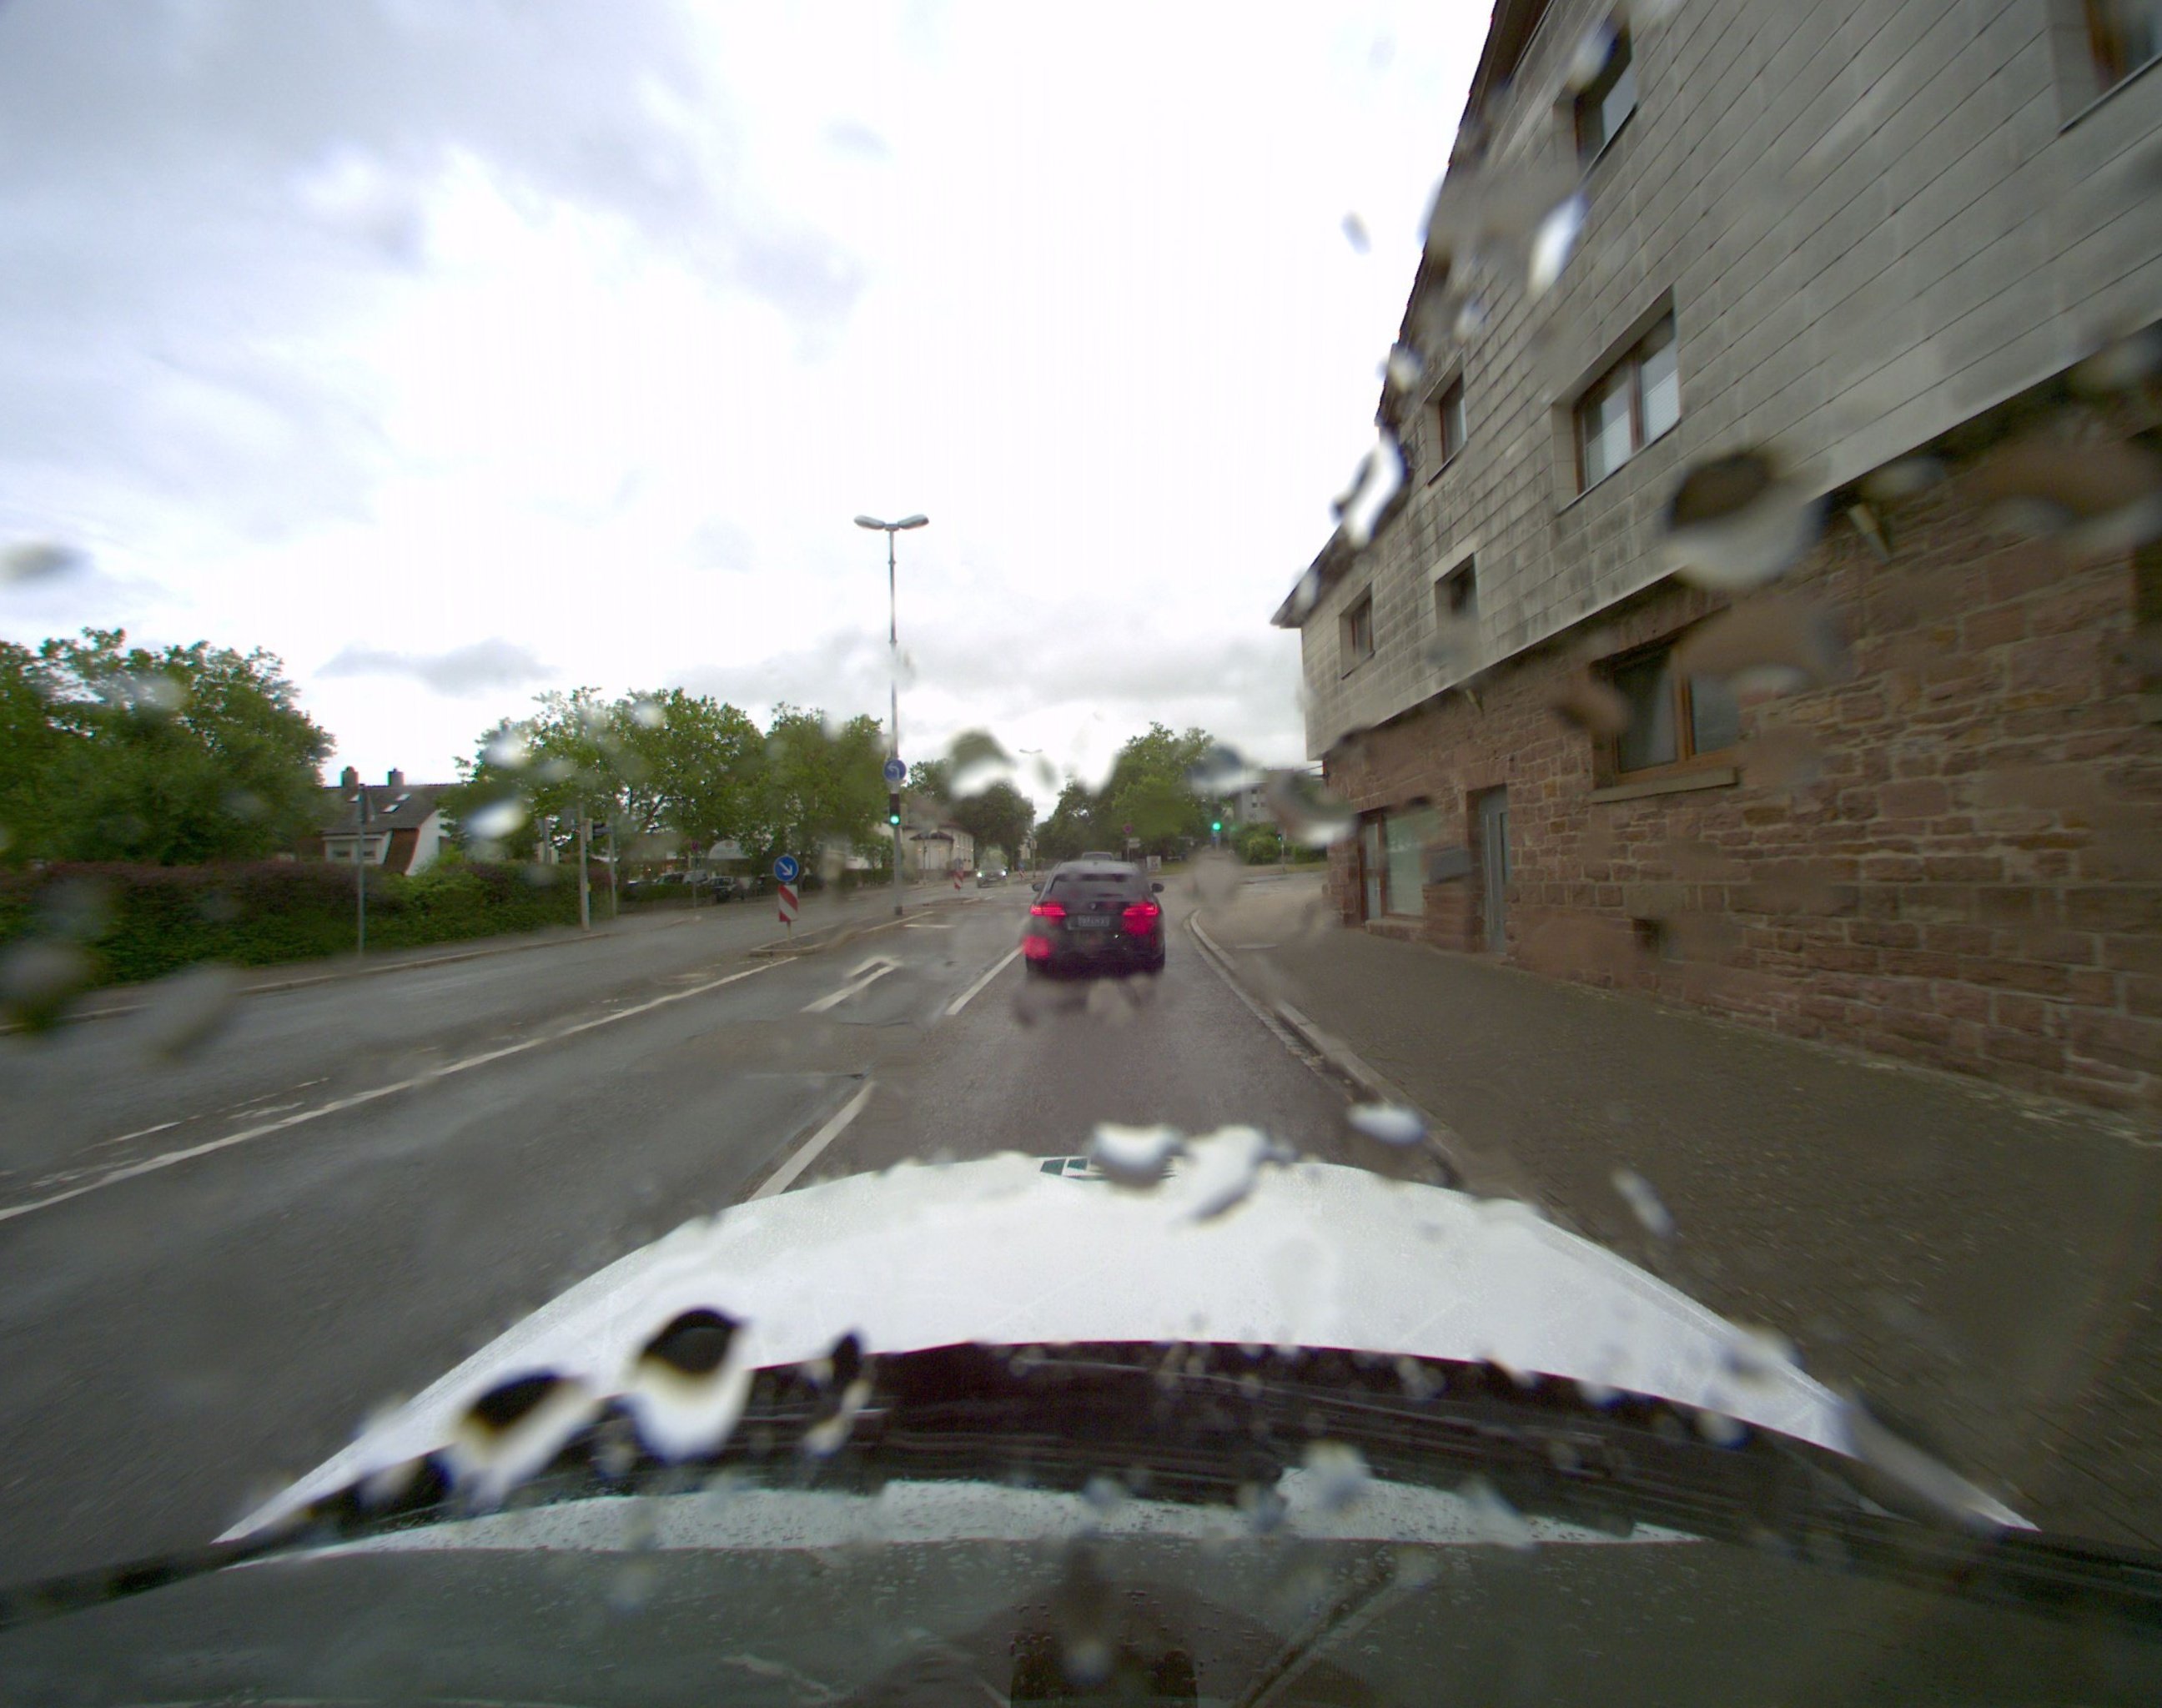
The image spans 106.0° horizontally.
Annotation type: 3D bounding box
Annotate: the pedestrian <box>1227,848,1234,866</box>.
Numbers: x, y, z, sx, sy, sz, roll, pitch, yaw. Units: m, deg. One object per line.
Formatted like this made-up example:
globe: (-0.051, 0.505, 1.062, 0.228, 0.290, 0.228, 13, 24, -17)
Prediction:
pedestrian: (13.490, 0.239, 73.336, 0.597, 1.617, 0.527, 0, -1, 8)

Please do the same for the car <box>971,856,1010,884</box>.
car: (-5.518, 0.947, 49.972, 1.893, 1.577, 4.500, -2, 0, -1)

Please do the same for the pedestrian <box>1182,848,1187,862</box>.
pedestrian: (13.747, 0.147, 108.244, 0.556, 1.763, 0.727, 0, -1, -3)

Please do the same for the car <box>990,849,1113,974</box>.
car: (-0.391, 0.734, 11.830, 1.519, 1.534, 3.530, 0, -1, -1)

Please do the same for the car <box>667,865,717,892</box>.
car: (-29.978, 1.857, 62.858, 1.988, 2.014, 3.996, 0, -1, -2)

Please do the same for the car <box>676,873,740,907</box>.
car: (-21.305, 2.025, 46.721, 1.803, 1.551, 4.001, 0, 3, 0)

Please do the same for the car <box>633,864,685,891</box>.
car: (-32.432, 1.803, 62.644, 1.988, 2.014, 3.996, 0, -1, -2)

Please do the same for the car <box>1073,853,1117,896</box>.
car: (0.550, 0.879, 35.697, 1.807, 1.809, 3.754, 0, -1, -1)
